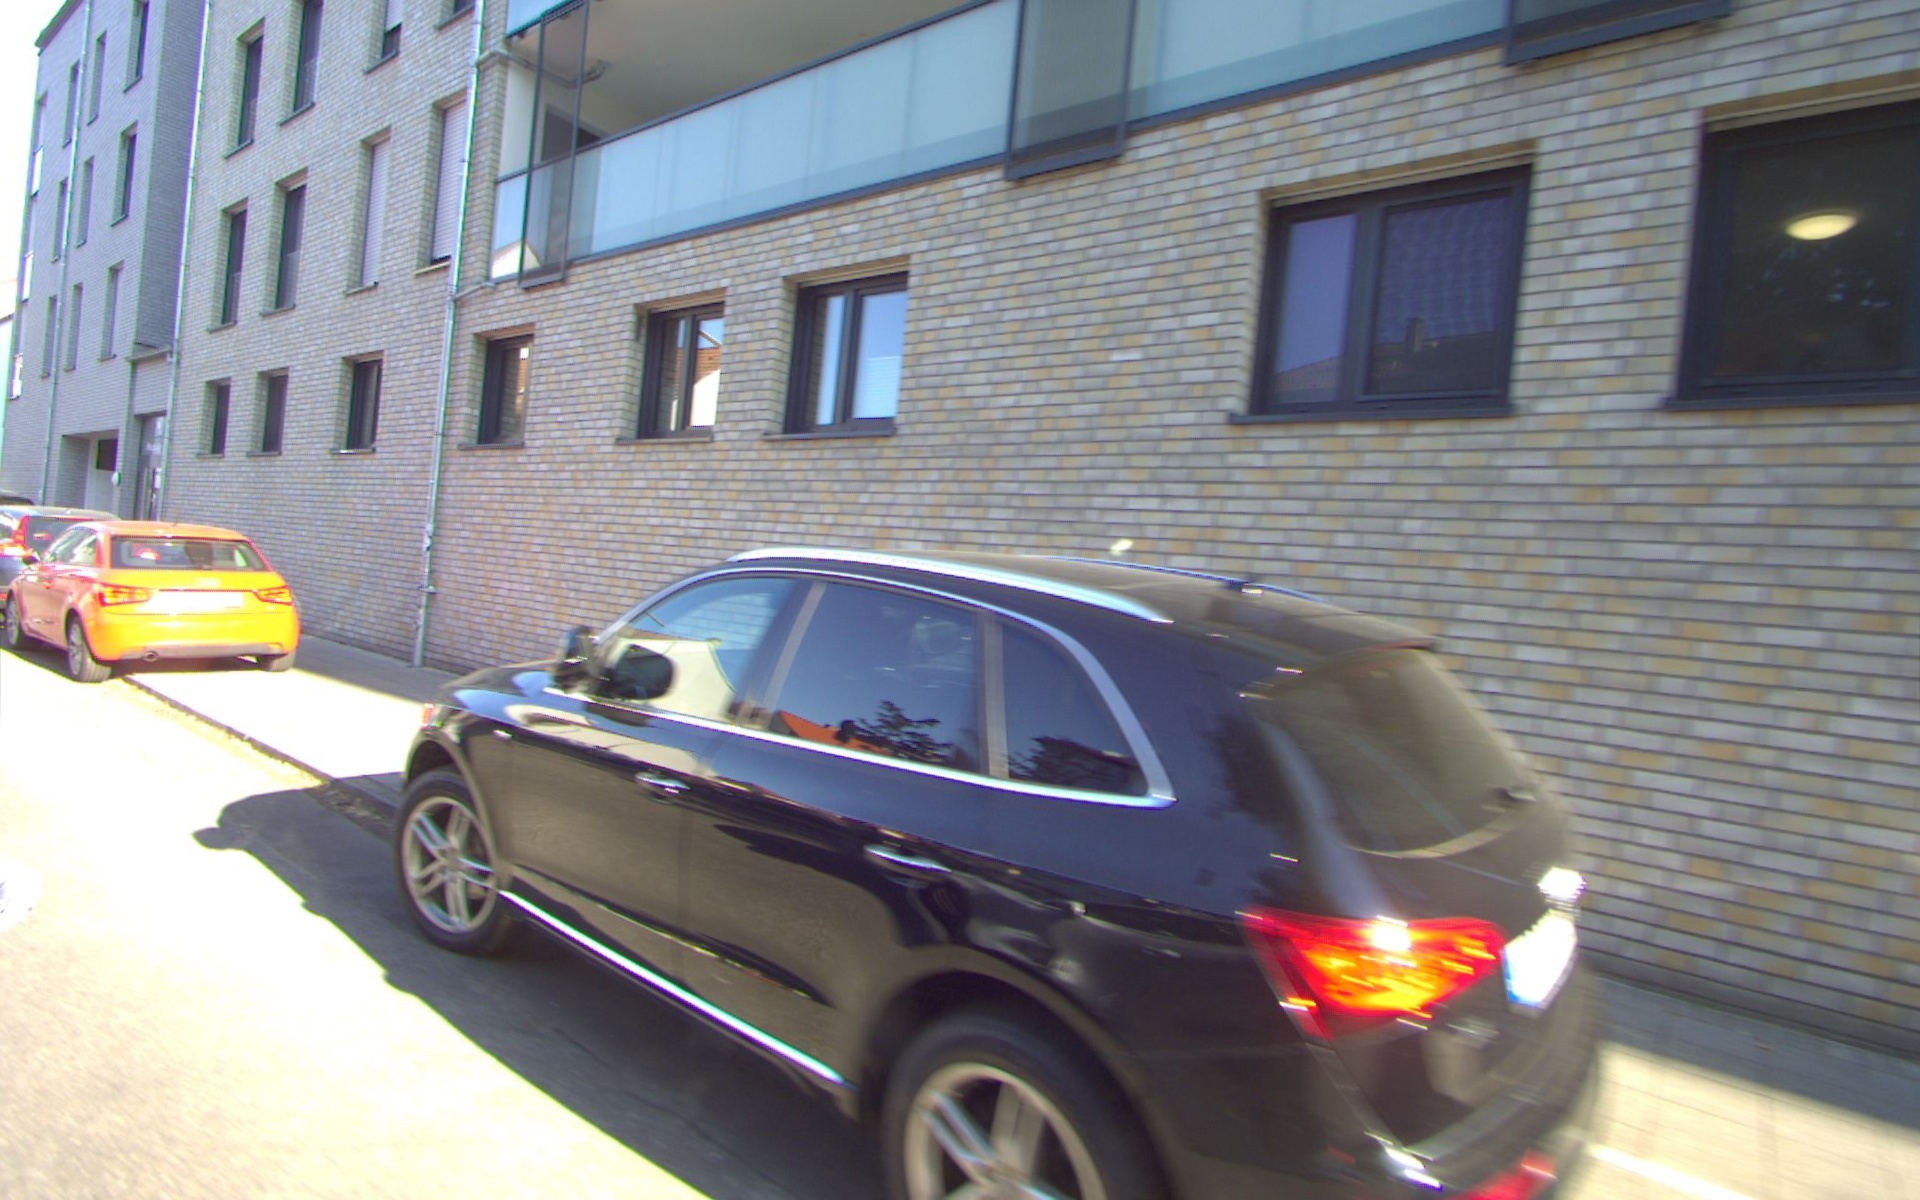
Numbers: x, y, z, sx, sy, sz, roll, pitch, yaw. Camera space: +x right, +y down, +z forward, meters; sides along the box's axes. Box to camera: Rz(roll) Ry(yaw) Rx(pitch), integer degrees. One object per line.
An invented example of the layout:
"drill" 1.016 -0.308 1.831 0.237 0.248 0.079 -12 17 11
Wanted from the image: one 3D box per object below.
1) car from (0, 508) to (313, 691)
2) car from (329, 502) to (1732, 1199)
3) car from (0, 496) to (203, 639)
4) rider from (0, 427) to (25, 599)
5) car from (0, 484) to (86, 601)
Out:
"car" -8.403 -0.108 10.333 4.012 1.424 1.709 6 4 38
"car" -0.375 0.716 3.594 4.708 1.734 1.886 7 1 42
"car" -12.092 -0.524 13.459 4.300 1.525 1.992 7 1 37
"rider" -5.614 -0.173 5.305 1.067 1.579 0.654 5 -3 36
"car" -16.208 -1.114 16.307 4.688 1.674 1.993 7 1 36
